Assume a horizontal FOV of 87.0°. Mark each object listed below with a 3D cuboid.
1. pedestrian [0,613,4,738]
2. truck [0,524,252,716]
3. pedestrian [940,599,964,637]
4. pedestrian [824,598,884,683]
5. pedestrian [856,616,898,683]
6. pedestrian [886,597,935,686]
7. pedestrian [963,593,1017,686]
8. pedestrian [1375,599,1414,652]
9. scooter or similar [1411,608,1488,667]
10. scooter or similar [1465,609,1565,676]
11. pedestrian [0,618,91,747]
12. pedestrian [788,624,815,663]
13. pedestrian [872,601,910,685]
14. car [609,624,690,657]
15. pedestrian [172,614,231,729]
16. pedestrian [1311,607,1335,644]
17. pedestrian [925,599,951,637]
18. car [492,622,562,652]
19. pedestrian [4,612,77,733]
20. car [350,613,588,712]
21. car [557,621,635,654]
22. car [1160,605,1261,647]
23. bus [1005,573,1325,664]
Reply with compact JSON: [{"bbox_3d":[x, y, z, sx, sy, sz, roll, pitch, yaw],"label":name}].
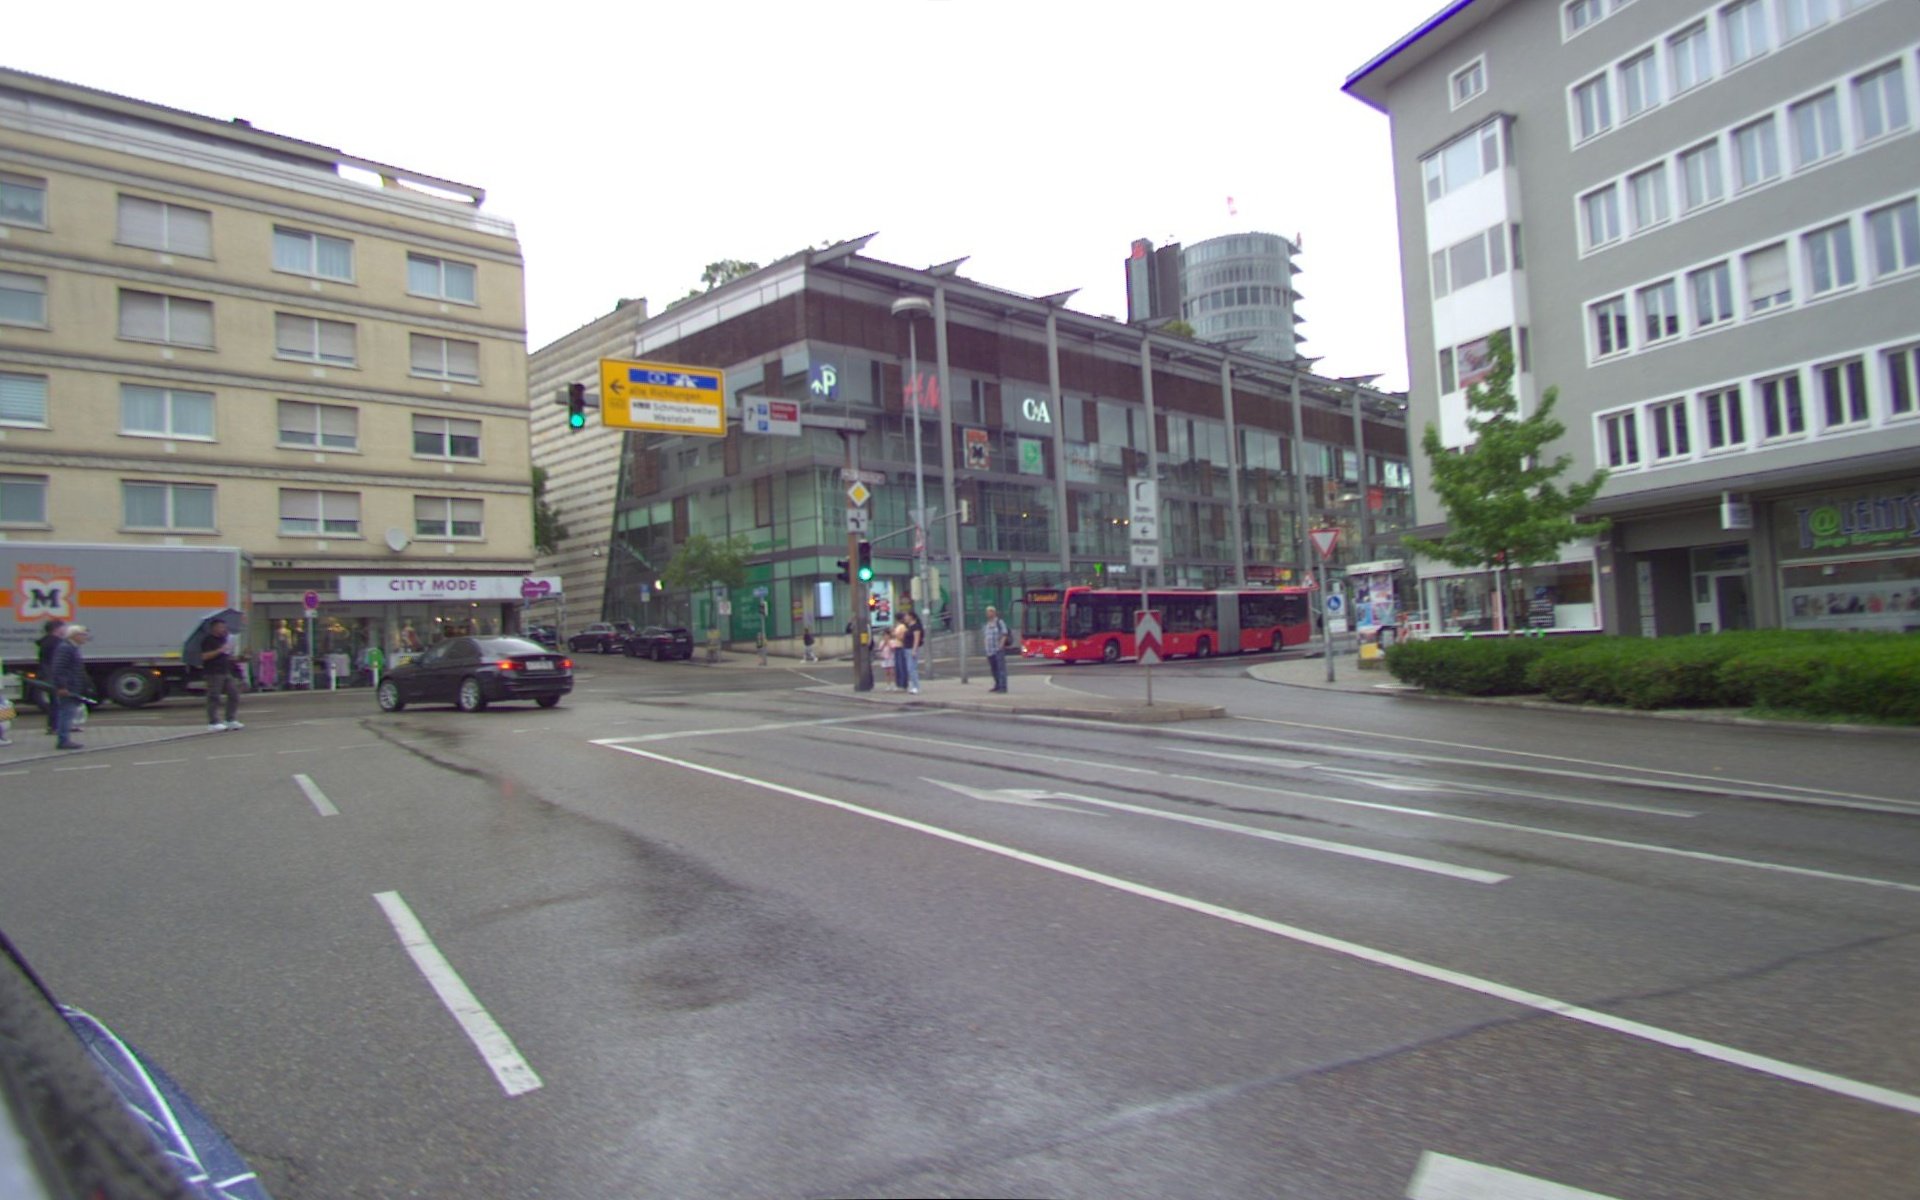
[{"bbox_3d":[-13.145,1.010,13.162,0.900,1.685,0.984,0,-2,-36],"label":"pedestrian"},{"bbox_3d":[-23.226,0.527,23.713,10.585,4.366,2.864,-1,-2,-28],"label":"truck"},{"bbox_3d":[-0.435,0.950,54.339,0.837,1.996,0.879,0,-3,-42],"label":"pedestrian"},{"bbox_3d":[-2.344,0.884,22.338,1.013,1.801,0.841,-3,-2,42],"label":"pedestrian"},{"bbox_3d":[-1.724,1.021,21.038,0.632,1.349,0.579,-3,-2,43],"label":"pedestrian"},{"bbox_3d":[-0.980,0.812,20.059,0.628,1.702,0.786,-1,-2,-33],"label":"pedestrian"},{"bbox_3d":[0.582,0.779,19.969,0.832,1.792,0.609,-3,-2,43],"label":"pedestrian"},{"bbox_3d":[15.117,0.887,35.220,1.025,1.789,0.788,-3,-2,43],"label":"pedestrian"},{"bbox_3d":[10.271,0.801,21.296,0.534,1.196,1.388,-1,-3,-22],"label":"scooter or similar"},{"bbox_3d":[11.856,0.902,21.670,0.915,1.265,1.506,-9,1,-22],"label":"scooter or similar"},{"bbox_3d":[-11.729,1.028,12.965,0.841,1.580,0.717,1,-2,-37],"label":"pedestrian"},{"bbox_3d":[-7.456,2.026,47.480,1.038,1.775,0.693,-3,-3,10],"label":"pedestrian"},{"bbox_3d":[-1.399,0.870,20.578,0.493,1.681,0.572,0,-3,-35],"label":"pedestrian"},{"bbox_3d":[-15.394,1.995,50.096,4.292,1.558,1.782,-2,-1,39],"label":"car"},{"bbox_3d":[-11.696,1.085,15.621,0.682,1.705,0.760,1,-3,-37],"label":"pedestrian"},{"bbox_3d":[18.158,1.286,50.649,0.617,1.816,0.908,0,-2,-36],"label":"pedestrian"},{"bbox_3d":[-1.159,0.949,53.726,0.960,1.996,0.885,0,-3,-42],"label":"pedestrian"},{"bbox_3d":[-25.056,2.140,58.515,4.376,1.558,1.874,-2,1,39],"label":"car"},{"bbox_3d":[-13.563,1.054,14.945,0.695,1.724,0.788,1,-3,-37],"label":"pedestrian"},{"bbox_3d":[-9.636,1.316,19.818,4.617,1.437,1.979,-7,-11,31],"label":"car"},{"bbox_3d":[-19.423,1.986,53.958,4.376,1.558,1.874,-2,1,39],"label":"car"},{"bbox_3d":[13.544,1.356,54.425,5.818,2.091,2.455,0,-2,-43],"label":"car"},{"bbox_3d":[9.705,0.730,44.309,18.186,3.346,2.934,0,-3,-40],"label":"bus"}]
